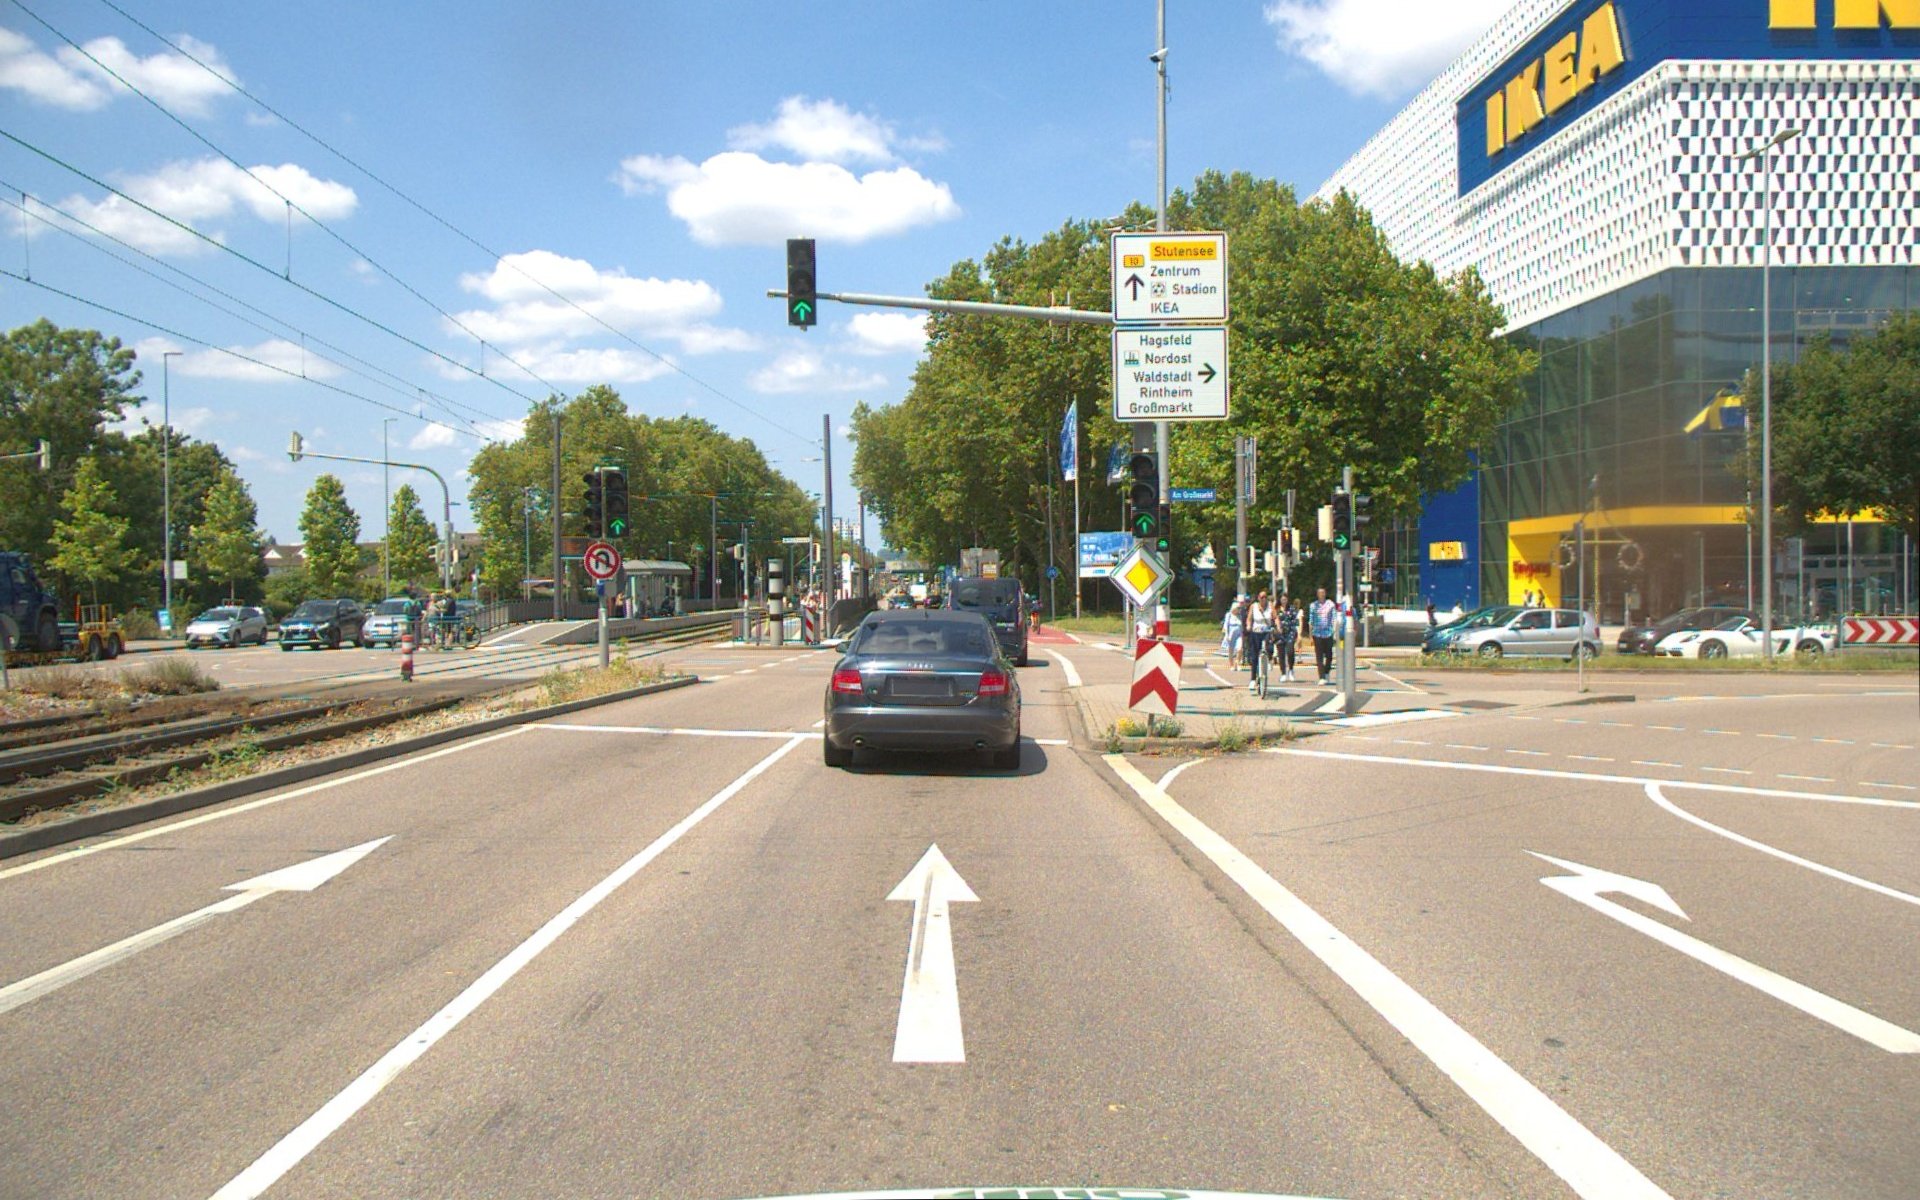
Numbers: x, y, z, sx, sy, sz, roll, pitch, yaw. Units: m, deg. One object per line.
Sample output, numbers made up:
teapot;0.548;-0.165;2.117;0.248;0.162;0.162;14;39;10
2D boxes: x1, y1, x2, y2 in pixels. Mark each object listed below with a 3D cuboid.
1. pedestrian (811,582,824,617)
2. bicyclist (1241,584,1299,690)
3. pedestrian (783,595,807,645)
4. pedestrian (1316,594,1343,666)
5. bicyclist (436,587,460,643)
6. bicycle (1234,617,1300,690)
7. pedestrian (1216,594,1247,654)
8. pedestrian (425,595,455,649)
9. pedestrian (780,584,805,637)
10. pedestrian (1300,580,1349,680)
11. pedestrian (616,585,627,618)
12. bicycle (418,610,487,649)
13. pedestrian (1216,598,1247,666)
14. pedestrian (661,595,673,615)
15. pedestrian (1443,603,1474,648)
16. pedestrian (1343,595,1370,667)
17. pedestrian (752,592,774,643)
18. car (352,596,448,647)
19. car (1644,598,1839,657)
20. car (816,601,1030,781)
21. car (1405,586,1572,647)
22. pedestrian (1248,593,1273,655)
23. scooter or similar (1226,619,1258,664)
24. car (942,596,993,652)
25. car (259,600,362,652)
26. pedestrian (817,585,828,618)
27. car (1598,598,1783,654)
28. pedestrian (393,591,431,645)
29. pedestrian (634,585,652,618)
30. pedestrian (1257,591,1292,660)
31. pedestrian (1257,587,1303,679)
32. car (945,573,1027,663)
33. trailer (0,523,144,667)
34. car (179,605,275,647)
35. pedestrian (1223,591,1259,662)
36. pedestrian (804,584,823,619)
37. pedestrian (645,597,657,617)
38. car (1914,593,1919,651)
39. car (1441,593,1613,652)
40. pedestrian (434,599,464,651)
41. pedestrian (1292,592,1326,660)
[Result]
pedestrian;-7.039;-0.036;81.622;0.601;1.711;0.719;1;0;-4
bicyclist;5.172;0.612;27.639;0.797;1.730;0.799;1;0;-1
pedestrian;-5.325;0.637;53.465;0.770;1.600;0.764;0;0;-5
pedestrian;8.680;0.715;38.863;0.593;1.666;0.864;0;-1;13
bicyclist;-15.264;0.444;49.303;0.653;1.643;0.730;1;0;-18
bicycle;5.099;0.898;27.551;0.811;1.182;1.879;0;-2;2
pedestrian;7.455;0.645;45.420;0.749;1.634;0.897;0;0;16
pedestrian;-16.665;0.709;53.013;0.746;1.701;0.763;0;0;-4
pedestrian;-5.839;0.361;57.811;0.846;1.833;0.882;0;0;-6
pedestrian;7.060;0.577;32.035;0.786;1.897;0.798;1;0;3
pedestrian;-17.111;0.071;83.616;0.546;1.666;0.805;0;0;-9
bicycle;-15.131;0.880;49.353;1.940;1.120;0.761;1;0;-18
pedestrian;6.140;0.722;37.424;0.577;1.502;0.806;1;0;4
pedestrian;-17.833;0.289;100.663;0.565;1.211;0.639;0;0;-1
pedestrian;18.281;0.924;60.688;0.900;1.614;0.632;0;0;-7
pedestrian;9.271;0.724;38.697;0.589;1.666;0.864;0;-1;13
pedestrian;-6.529;0.576;54.842;0.718;1.702;0.678;0;0;-5
car;-19.208;0.720;56.895;1.953;1.657;3.999;1;0;-1
car;19.858;0.689;42.144;4.133;1.422;1.803;1;0;0
car;-0.319;0.784;16.098;1.805;1.510;4.000;1;0;0
car;14.415;0.447;45.250;3.908;1.583;1.999;1;0;-3
pedestrian;8.338;0.661;45.952;0.610;1.712;0.726;0;0;16
scooter or similar;6.770;0.998;39.718;0.675;1.049;0.863;0;0;4
car;0.254;0.867;61.448;1.810;1.994;4.144;1;0;0
car;-21.877;0.858;55.868;1.953;1.657;4.000;0;1;-1
pedestrian;-6.714;0.078;80.632;0.487;1.605;0.556;0;0;-3
car;20.131;0.705;45.707;4.312;1.468;1.852;1;0;-3
pedestrian;-16.680;0.539;50.351;0.937;1.638;0.763;0;0;-4
pedestrian;-17.045;0.061;88.920;0.724;1.759;0.576;0;0;35
pedestrian;7.750;0.619;40.732;0.778;1.688;0.853;0;0;15
pedestrian;6.321;0.640;32.693;0.786;1.790;0.798;1;0;3
car;0.585;0.402;39.123;1.810;1.994;4.144;1;0;0
trailer;-27.797;-0.162;46.225;3.053;3.938;15.473;1;0;-3
car;-28.106;0.971;63.562;1.954;1.489;4.276;1;0;-3
pedestrian;6.848;0.631;40.345;0.765;1.702;0.947;0;0;5
pedestrian;-6.969;0.053;78.581;0.872;1.633;0.923;0;0;-3
pedestrian;-17.369;0.393;93.065;0.565;1.114;0.639;0;0;-1
car;28.960;0.635;45.528;4.309;1.612;1.863;1;0;1
car;14.335;0.564;41.952;3.745;1.421;1.804;1;0;1
pedestrian;-15.931;0.775;51.580;0.746;1.575;0.763;0;0;-4
pedestrian;8.687;0.638;41.198;0.778;1.688;0.853;0;0;15
